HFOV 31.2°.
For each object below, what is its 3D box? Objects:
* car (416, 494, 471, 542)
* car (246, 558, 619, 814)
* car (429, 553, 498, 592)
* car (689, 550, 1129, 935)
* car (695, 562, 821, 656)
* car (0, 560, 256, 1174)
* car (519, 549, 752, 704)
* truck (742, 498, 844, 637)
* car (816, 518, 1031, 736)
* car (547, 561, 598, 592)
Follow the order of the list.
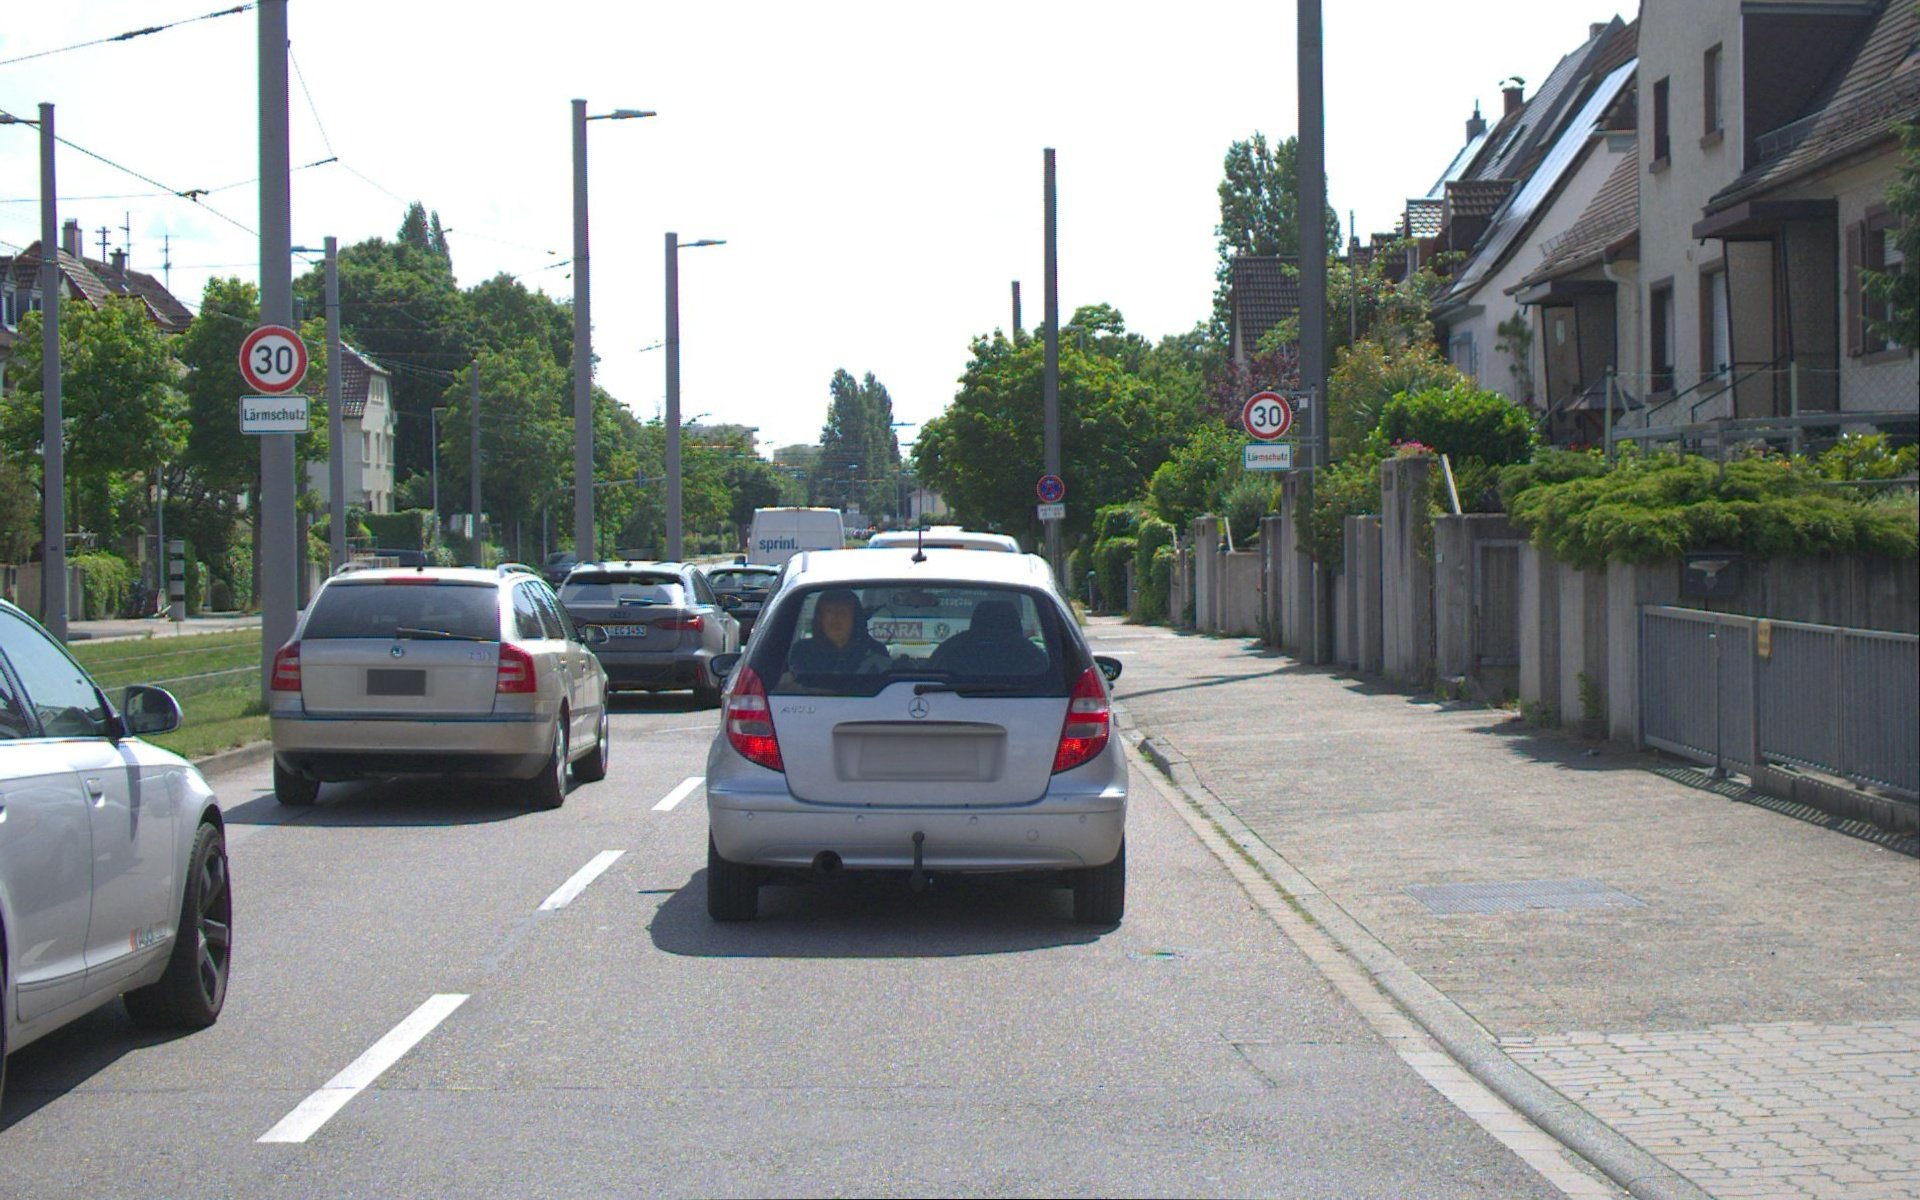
[{"bbox_3d":[-25.643,-4.078,170.798,1.916,2.322,4.562,1,1,1],"label":"car"},{"bbox_3d":[-3.246,0.468,21.868,1.731,1.444,4.123,1,1,0],"label":"car"},{"bbox_3d":[-19.700,-1.118,136.566,1.916,1.472,4.562,1,1,1],"label":"car"},{"bbox_3d":[-0.275,0.544,15.734,1.730,1.511,4.017,1,1,-2],"label":"car"},{"bbox_3d":[-3.151,0.116,54.334,1.852,1.383,4.515,1,1,-2],"label":"car"},{"bbox_3d":[-3.267,0.648,9.412,1.794,1.467,4.722,0,1,-1],"label":"car"},{"bbox_3d":[-3.317,0.226,35.906,1.916,1.472,4.562,1,1,1],"label":"car"},{"bbox_3d":[-3.212,-0.646,66.712,1.852,2.543,5.856,1,1,-2],"label":"truck"},{"bbox_3d":[-0.326,0.196,30.197,1.730,1.756,4.017,1,1,-1],"label":"car"},{"bbox_3d":[-19.312,-1.183,171.386,1.916,1.472,4.562,1,1,1],"label":"car"}]
